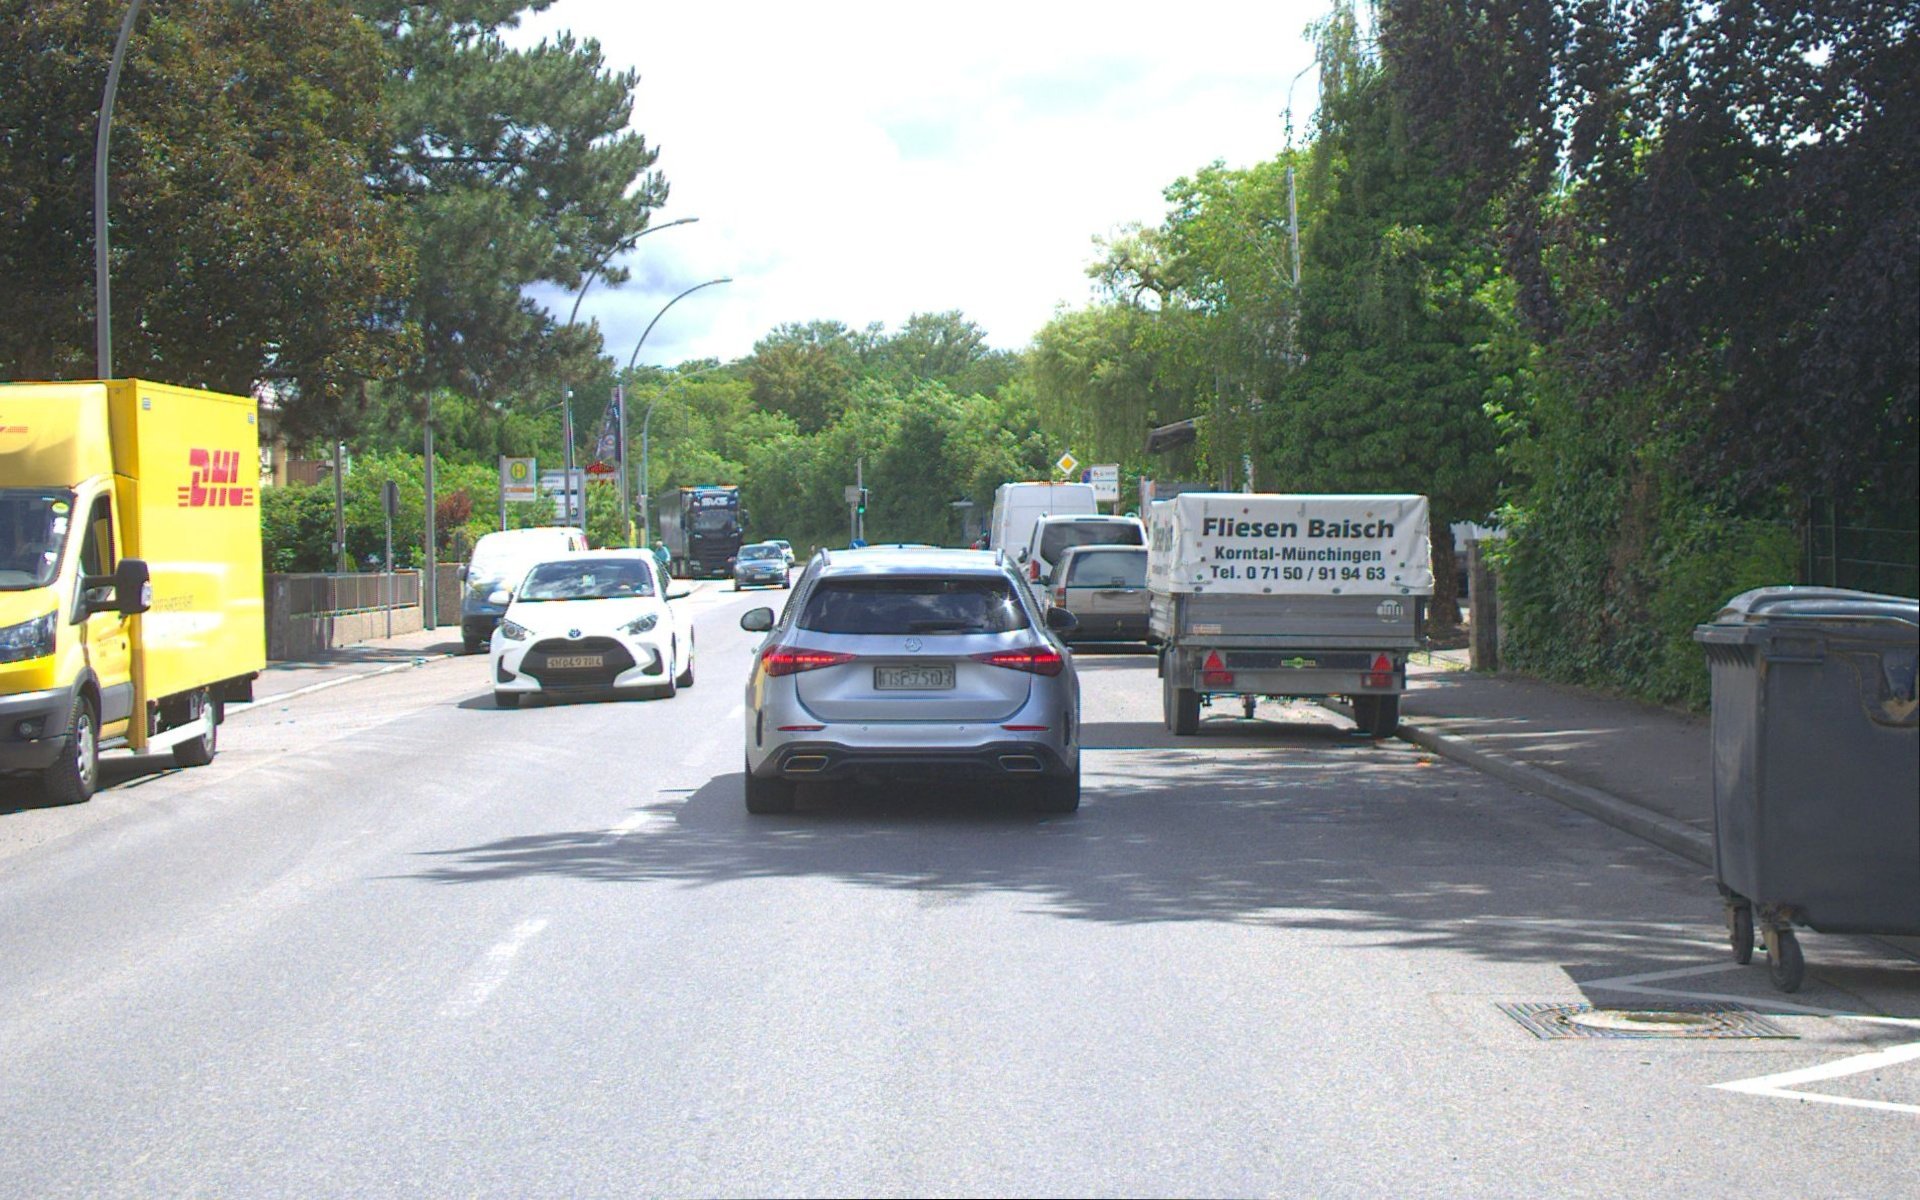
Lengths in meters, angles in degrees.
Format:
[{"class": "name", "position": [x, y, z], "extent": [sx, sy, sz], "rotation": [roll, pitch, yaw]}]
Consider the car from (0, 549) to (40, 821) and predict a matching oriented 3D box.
[{"class": "car", "position": [-6.133, 0.569, 16.617], "extent": [1.993, 1.448, 4.812], "rotation": [-5, 1, 0]}]

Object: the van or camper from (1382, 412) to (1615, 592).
[{"class": "van or camper", "position": [9.720, -1.760, 62.789], "extent": [2.881, 3.050, 6.914], "rotation": [-1, 1, -2]}]

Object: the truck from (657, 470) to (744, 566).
[{"class": "truck", "position": [-11.579, -3.588, 152.539], "extent": [2.428, 4.117, 9.153], "rotation": [1, 1, -13]}]

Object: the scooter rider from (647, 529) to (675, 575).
[{"class": "scooter rider", "position": [-10.490, -1.694, 120.464], "extent": [0.878, 1.584, 0.796], "rotation": [-1, 1, 0]}]

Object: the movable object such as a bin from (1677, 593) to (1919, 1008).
[{"class": "movable object such as a bin", "position": [3.130, 0.642, 11.741], "extent": [1.113, 1.286, 1.357], "rotation": [-2, 1, 4]}]

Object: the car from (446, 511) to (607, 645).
[{"class": "car", "position": [-6.745, -0.393, 53.983], "extent": [1.833, 1.847, 4.896], "rotation": [-4, 2, -1]}]

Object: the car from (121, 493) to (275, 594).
[{"class": "car", "position": [-20.327, -1.518, 92.040], "extent": [2.412, 2.487, 6.135], "rotation": [-3, 1, 2]}]

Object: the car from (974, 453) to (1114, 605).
[{"class": "car", "position": [1.547, -1.360, 66.029], "extent": [2.215, 2.680, 6.658], "rotation": [-2, 1, -2]}]

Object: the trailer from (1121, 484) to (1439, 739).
[{"class": "trailer", "position": [2.412, 0.033, 27.089], "extent": [1.993, 1.816, 4.765], "rotation": [1, 1, -1]}]

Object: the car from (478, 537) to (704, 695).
[{"class": "car", "position": [-3.623, 0.114, 34.385], "extent": [1.982, 1.415, 4.001], "rotation": [-2, 1, -3]}]

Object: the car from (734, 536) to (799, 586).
[{"class": "car", "position": [-6.148, -1.258, 109.592], "extent": [1.900, 1.512, 4.319], "rotation": [-2, 1, -2]}]

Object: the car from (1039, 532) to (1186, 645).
[{"class": "car", "position": [2.053, -0.199, 47.576], "extent": [1.754, 1.445, 4.994], "rotation": [1, 1, 0]}]

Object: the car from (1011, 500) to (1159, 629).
[{"class": "car", "position": [1.881, -0.575, 53.209], "extent": [1.905, 1.879, 5.390], "rotation": [0, 1, -2]}]

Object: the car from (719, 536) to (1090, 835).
[{"class": "car", "position": [-0.306, 0.402, 19.645], "extent": [1.884, 1.503, 4.000], "rotation": [-1, 1, -1]}]

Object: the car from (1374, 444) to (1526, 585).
[{"class": "car", "position": [9.754, -1.751, 68.816], "extent": [2.017, 2.672, 5.499], "rotation": [-1, 2, -2]}]

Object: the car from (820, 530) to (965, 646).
[{"class": "car", "position": [-0.972, -0.197, 47.373], "extent": [1.884, 1.503, 4.001], "rotation": [-1, 1, -2]}]

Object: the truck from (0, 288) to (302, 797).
[{"class": "truck", "position": [-6.518, -0.364, 24.303], "extent": [2.323, 2.993, 7.820], "rotation": [-4, 1, -2]}]
